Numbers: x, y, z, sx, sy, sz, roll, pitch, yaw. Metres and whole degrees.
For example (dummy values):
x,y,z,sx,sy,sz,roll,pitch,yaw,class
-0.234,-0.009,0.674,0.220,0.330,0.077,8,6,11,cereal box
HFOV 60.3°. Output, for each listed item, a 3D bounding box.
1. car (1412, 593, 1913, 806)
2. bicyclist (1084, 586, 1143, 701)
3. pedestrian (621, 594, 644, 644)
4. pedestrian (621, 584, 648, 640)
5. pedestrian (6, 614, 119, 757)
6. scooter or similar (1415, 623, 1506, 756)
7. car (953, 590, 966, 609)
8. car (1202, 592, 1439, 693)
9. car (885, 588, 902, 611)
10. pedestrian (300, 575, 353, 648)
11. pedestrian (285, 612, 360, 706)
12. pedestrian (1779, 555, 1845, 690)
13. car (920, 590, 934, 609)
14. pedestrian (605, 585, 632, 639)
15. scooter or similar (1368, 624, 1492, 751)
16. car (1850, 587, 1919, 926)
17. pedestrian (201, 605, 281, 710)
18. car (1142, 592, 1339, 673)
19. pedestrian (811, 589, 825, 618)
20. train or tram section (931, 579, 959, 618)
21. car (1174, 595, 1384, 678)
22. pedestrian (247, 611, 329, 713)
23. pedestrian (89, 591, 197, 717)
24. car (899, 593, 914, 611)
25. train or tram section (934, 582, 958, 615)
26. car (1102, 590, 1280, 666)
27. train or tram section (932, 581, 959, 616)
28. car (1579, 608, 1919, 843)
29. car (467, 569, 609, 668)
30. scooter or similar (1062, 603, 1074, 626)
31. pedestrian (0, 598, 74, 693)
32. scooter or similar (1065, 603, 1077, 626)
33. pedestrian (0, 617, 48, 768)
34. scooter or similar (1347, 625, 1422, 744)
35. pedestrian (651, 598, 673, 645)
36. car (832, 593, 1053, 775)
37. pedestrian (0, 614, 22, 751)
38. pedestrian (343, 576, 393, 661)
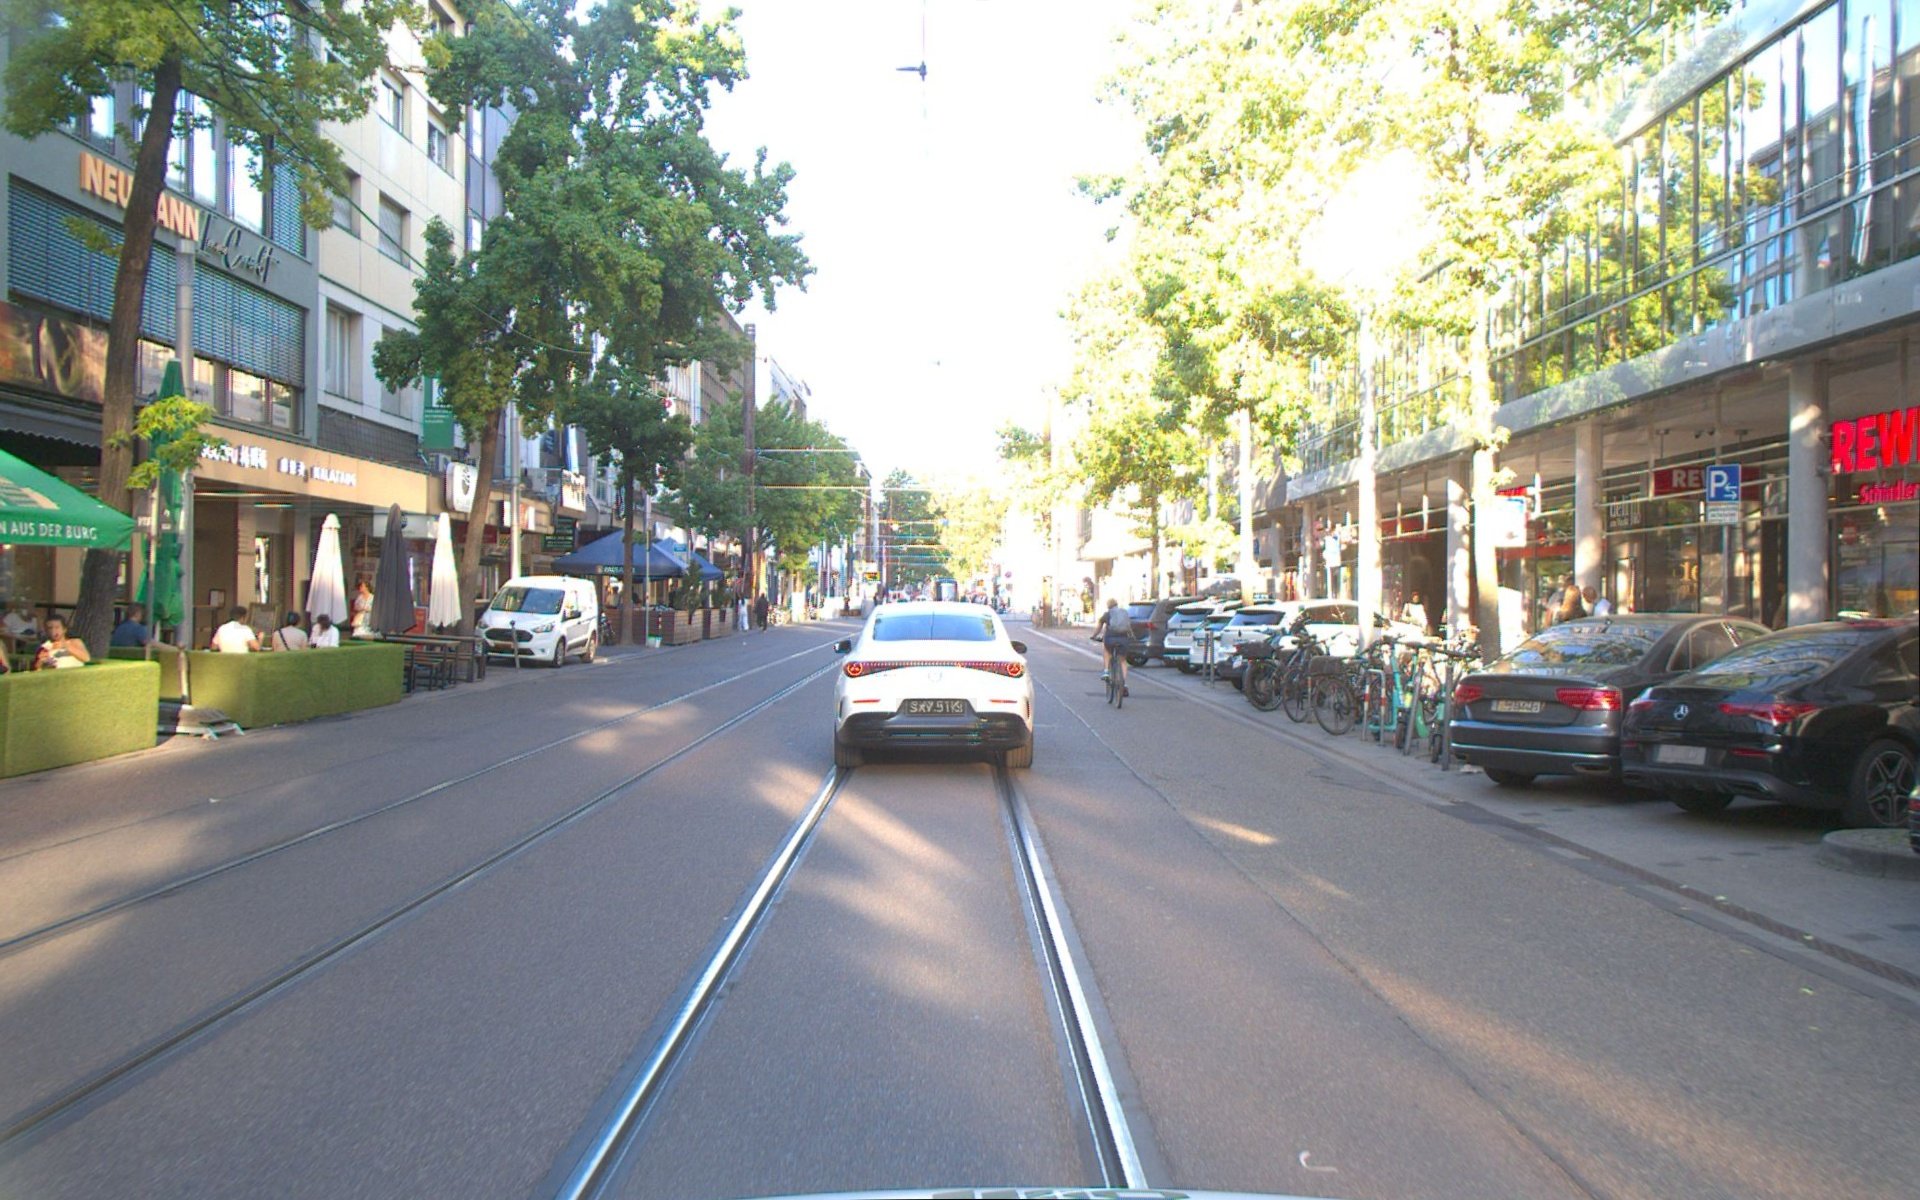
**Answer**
x,y,z,sx,sy,sz,roll,pitch,yaw,class
6.551,0.795,15.168,5.006,1.494,1.952,-2,0,-37,car
2.287,0.632,24.608,0.761,1.641,0.913,2,0,8,bicyclist
-9.678,0.554,48.885,0.538,1.454,0.582,1,0,-1,pedestrian
-10.396,0.375,52.856,0.703,1.755,0.675,1,0,-2,pedestrian
-8.383,0.782,15.472,0.606,1.266,0.697,3,0,-1,pedestrian
5.316,0.934,17.533,0.449,1.298,1.302,-3,0,36,scooter or similar
-0.140,-0.030,262.298,2.056,2.948,5.284,0,0,0,car
6.531,0.716,29.834,4.110,1.599,1.832,-2,0,-34,car
-8.436,-0.043,211.069,1.953,2.948,5.274,0,0,0,car
-13.425,0.242,35.068,0.754,1.492,0.764,3,0,-3,pedestrian
-8.727,0.797,22.662,0.643,1.214,0.798,3,0,-1,pedestrian
12.559,0.327,24.403,0.571,1.952,0.663,-2,0,1,pedestrian
-5.230,-0.102,261.930,2.056,2.948,5.274,0,0,0,car
-10.533,0.358,51.040,0.659,1.635,0.719,1,0,-1,pedestrian
5.219,0.956,18.351,1.290,1.298,0.558,-3,0,-32,scooter or similar
7.119,0.710,8.628,4.592,1.684,1.993,-2,0,-25,car
-9.465,0.749,21.797,0.643,1.315,0.798,3,0,-1,pedestrian
6.341,0.705,37.307,4.194,1.615,1.864,-2,0,-32,car
-8.918,0.202,103.893,0.771,1.832,0.844,1,0,1,pedestrian
-1.426,-0.140,160.679,2.639,3.578,12.543,0,0,0,train or tram section
6.667,0.737,34.548,4.092,1.525,1.676,-2,0,-25,car
-8.796,0.796,21.671,0.643,1.266,0.872,3,0,-1,pedestrian
-9.372,0.605,19.003,0.739,1.367,0.872,3,0,-1,pedestrian
-7.403,0.245,229.862,1.871,2.504,5.274,0,0,0,car
-1.557,-0.115,185.071,2.639,3.578,11.141,0,0,0,train or tram section
5.774,0.673,41.214,4.300,1.681,1.676,-2,0,-32,car
-1.490,-0.130,173.231,2.639,3.578,12.543,0,0,0,train or tram section
7.218,0.821,12.601,4.586,1.451,1.921,-2,0,-22,car
-8.984,0.381,35.607,1.759,1.897,4.553,3,0,1,car
6.251,0.830,95.439,0.518,1.299,0.658,-1,0,-12,scooter or similar
-12.591,0.596,22.212,0.737,1.209,1.065,3,0,-1,pedestrian
6.369,0.832,94.806,0.482,1.299,0.658,-1,0,-12,scooter or similar
-8.521,0.794,14.490,0.606,1.266,0.697,3,0,-1,pedestrian
4.943,0.963,19.305,0.441,1.298,1.306,-3,0,-1,scooter or similar
-8.799,0.626,48.843,0.538,1.380,0.582,1,0,-1,pedestrian
-0.164,0.709,15.947,1.819,1.481,4.174,1,0,-1,car
-9.245,0.758,15.355,0.606,1.266,0.697,3,0,-1,pedestrian
-11.427,0.352,31.962,0.634,1.601,0.700,3,0,-1,pedestrian
